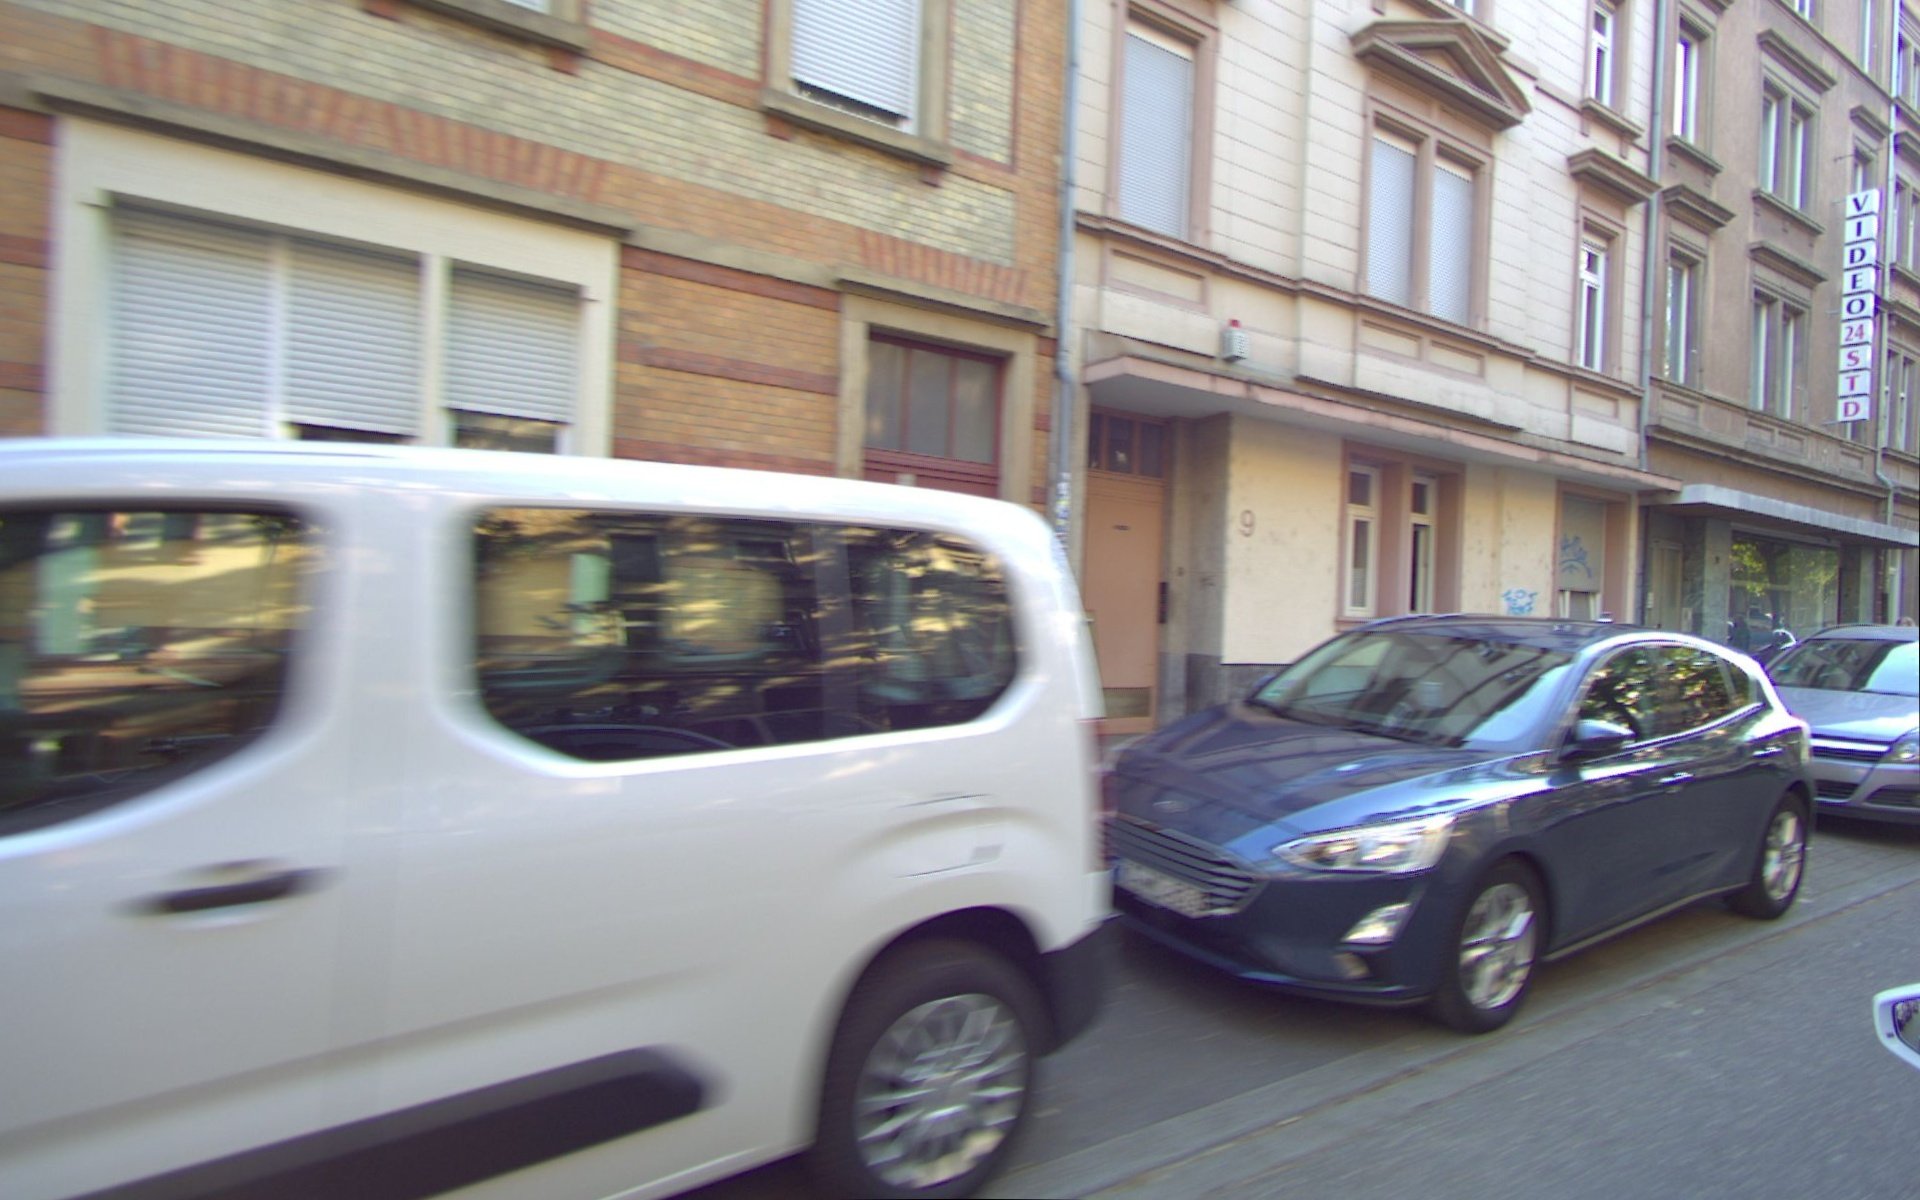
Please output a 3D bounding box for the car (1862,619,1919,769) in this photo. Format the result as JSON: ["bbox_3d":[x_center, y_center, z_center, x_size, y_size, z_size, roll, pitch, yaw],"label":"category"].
[{"bbox_3d":[11.532,1.000,10.790,4.044,1.492,1.746,1,0,-33],"label":"car"}]

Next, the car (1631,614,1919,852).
[{"bbox_3d":[7.586,0.905,8.235,4.495,1.463,1.874,2,0,-34],"label":"car"}]

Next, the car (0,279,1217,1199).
[{"bbox_3d":[-1.717,0.458,2.279,4.558,1.858,1.831,2,1,-33],"label":"car"}]

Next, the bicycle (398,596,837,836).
[{"bbox_3d":[-2.107,0.660,6.553,2.647,1.297,0.623,1,0,-39],"label":"bicycle"}]

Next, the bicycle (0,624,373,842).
[{"bbox_3d":[-4.274,0.667,5.414,1.888,1.037,0.491,1,1,-33],"label":"bicycle"}]

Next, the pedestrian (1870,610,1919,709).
[{"bbox_3d":[16.470,1.011,17.462,1.007,1.653,0.691,1,0,-33],"label":"pedestrian"}]

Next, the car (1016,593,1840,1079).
[{"bbox_3d":[2.491,0.775,4.994,4.198,1.492,1.737,2,0,-33],"label":"car"}]
